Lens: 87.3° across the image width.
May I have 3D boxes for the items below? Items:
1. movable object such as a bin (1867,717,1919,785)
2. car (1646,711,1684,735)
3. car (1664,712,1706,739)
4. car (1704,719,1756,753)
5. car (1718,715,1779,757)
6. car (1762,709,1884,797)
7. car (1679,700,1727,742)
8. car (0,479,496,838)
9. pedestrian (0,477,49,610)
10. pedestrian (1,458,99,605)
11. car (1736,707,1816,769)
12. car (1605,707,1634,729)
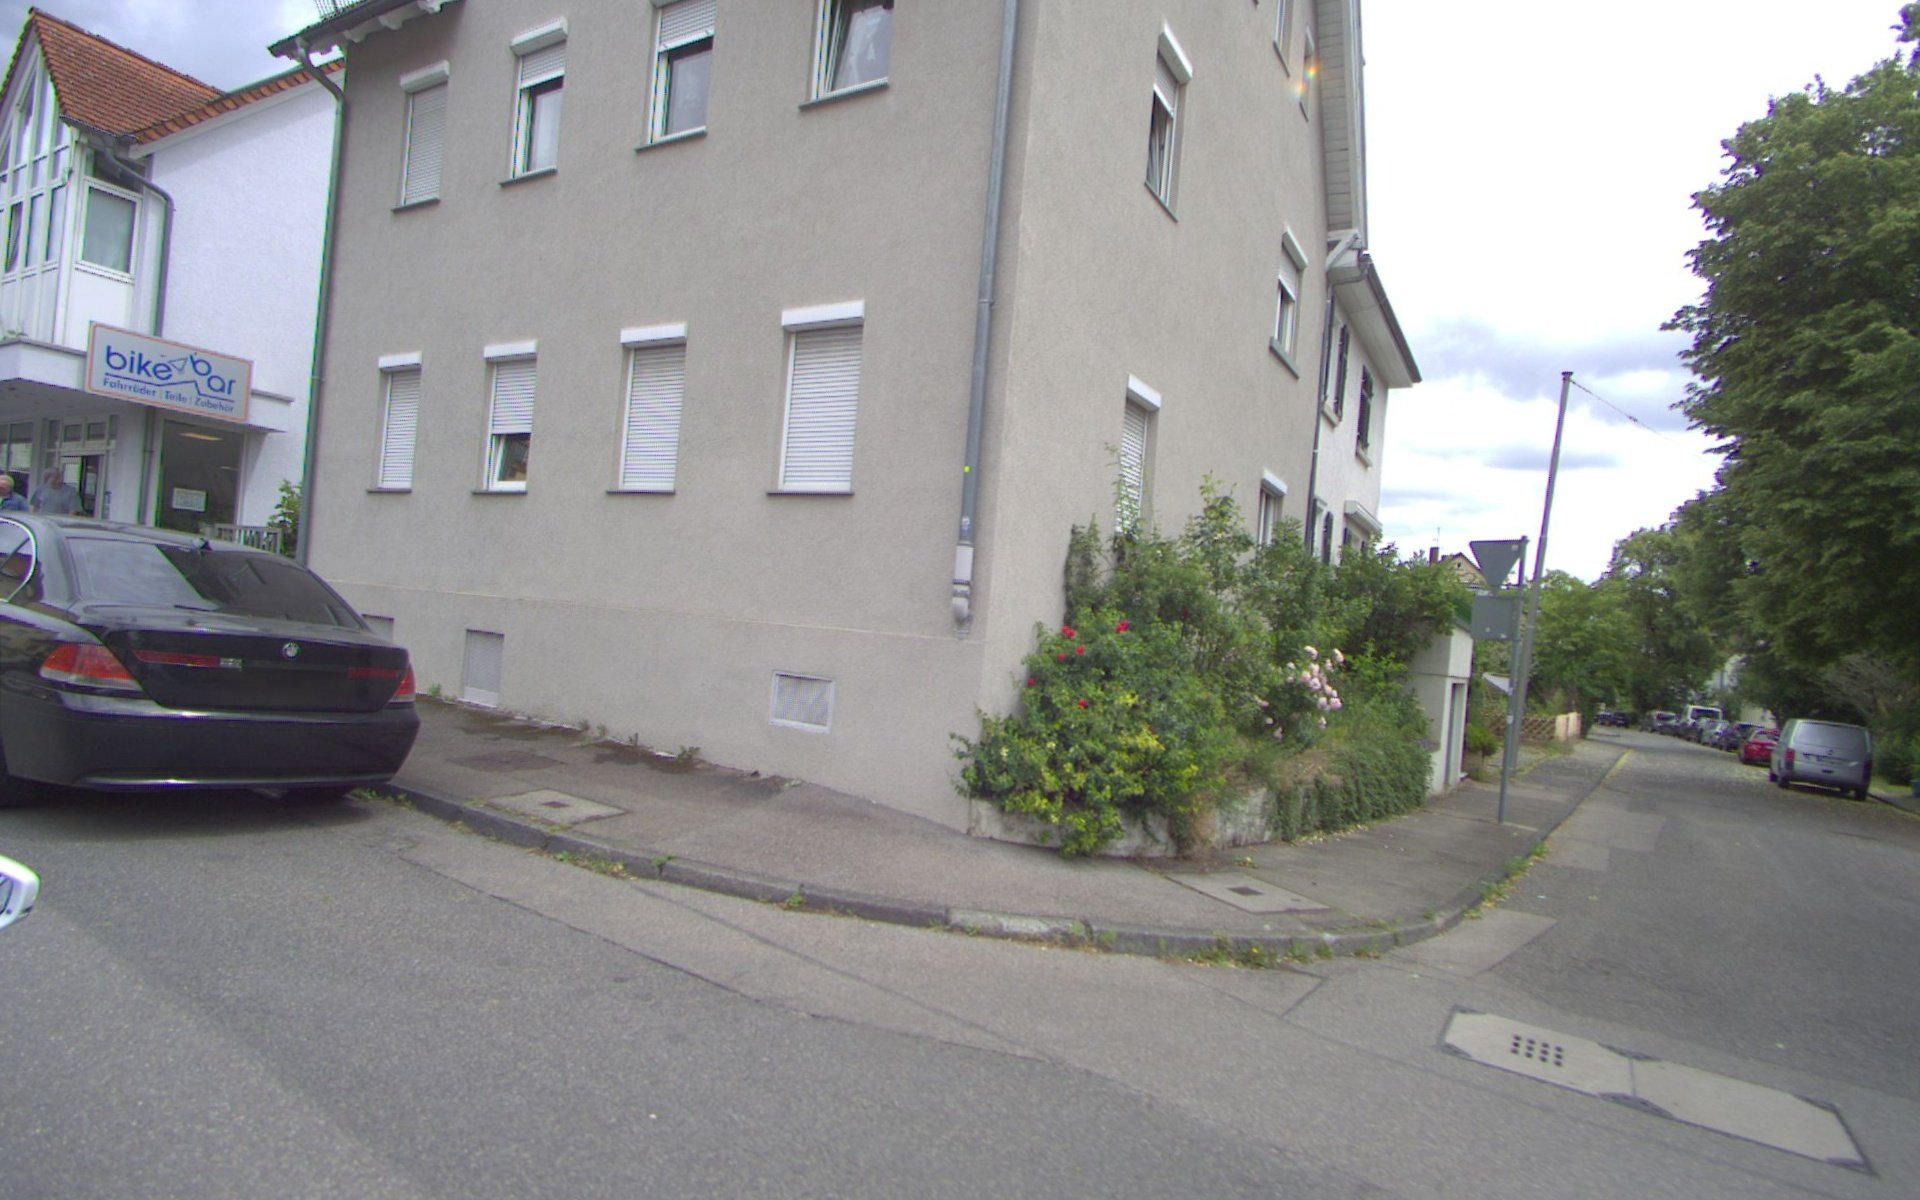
[{"bbox_3d":[30.506,4.888,32.565,1.353,1.955,1.199,7,0,34],"label":"movable object such as a bin"},{"bbox_3d":[56.206,9.785,80.267,1.966,1.570,3.994,7,-1,30],"label":"car"},{"bbox_3d":[53.501,9.221,74.339,1.966,1.570,3.994,7,-1,30],"label":"car"},{"bbox_3d":[44.930,7.901,58.765,1.968,1.570,3.991,7,-1,34],"label":"car"},{"bbox_3d":[41.800,7.180,53.403,1.967,1.815,3.992,7,-1,32],"label":"car"},{"bbox_3d":[23.861,4.154,27.966,1.968,1.973,3.990,7,-1,35],"label":"car"},{"bbox_3d":[50.646,8.200,68.641,1.966,2.438,3.994,7,-1,30],"label":"car"},{"bbox_3d":[-5.448,0.140,6.477,4.810,1.535,1.998,6,-2,31],"label":"car"},{"bbox_3d":[-13.031,-0.791,13.532,0.862,1.746,0.616,7,0,-24],"label":"pedestrian"},{"bbox_3d":[-13.492,-0.999,14.933,0.752,2.038,0.616,7,0,-24],"label":"pedestrian"},{"bbox_3d":[32.408,5.433,40.071,1.968,2.038,3.990,7,-1,35],"label":"car"},{"bbox_3d":[59.604,10.651,90.975,1.847,1.570,3.994,7,-1,30],"label":"car"}]
